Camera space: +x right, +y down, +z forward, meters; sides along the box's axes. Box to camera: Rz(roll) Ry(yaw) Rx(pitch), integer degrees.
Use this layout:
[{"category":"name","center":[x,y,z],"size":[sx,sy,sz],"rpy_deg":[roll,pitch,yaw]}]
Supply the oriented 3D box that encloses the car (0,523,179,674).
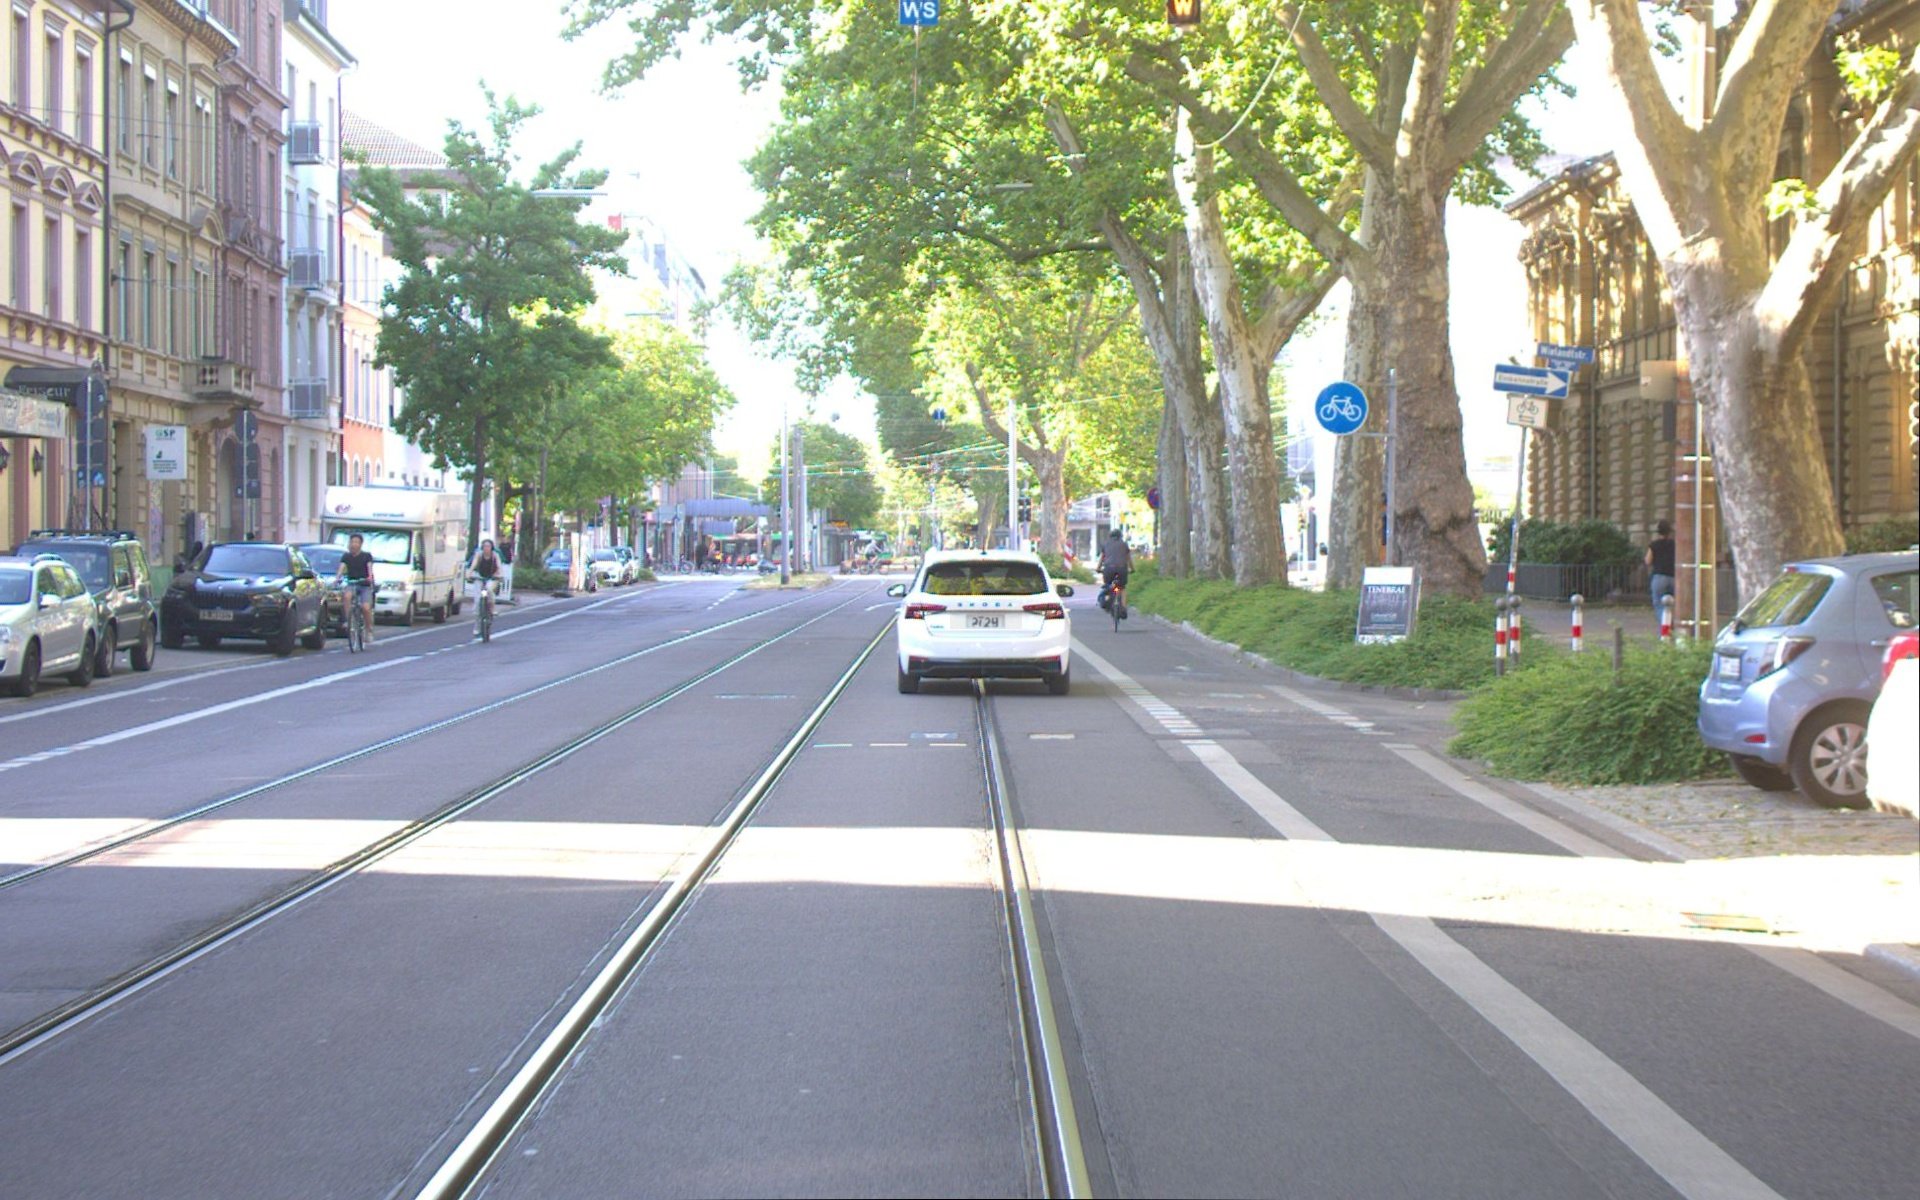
[{"category":"car","center":[-10.721,-0.052,42.083],"size":[1.555,1.726,3.686],"rpy_deg":[1,1,-2]}]

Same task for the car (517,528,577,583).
[{"category":"car","center":[-13.484,-1.458,112.324],"size":[1.641,1.720,3.785],"rpy_deg":[1,1,-2]}]

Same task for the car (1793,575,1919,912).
[{"category":"car","center":[6.156,0.567,15.648],"size":[4.286,1.412,1.760],"rpy_deg":[-1,1,1]}]

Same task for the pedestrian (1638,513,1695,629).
[{"category":"pedestrian","center":[10.150,-0.414,49.378],"size":[0.648,1.627,0.871],"rpy_deg":[2,1,19]}]

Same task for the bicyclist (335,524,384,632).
[{"category":"bicyclist","center":[-9.290,-0.345,53.247],"size":[0.535,1.629,0.896],"rpy_deg":[-2,1,1]}]

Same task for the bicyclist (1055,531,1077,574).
[{"category":"bicyclist","center":[3.872,-1.731,125.460],"size":[0.737,1.583,0.586],"rpy_deg":[0,1,12]}]

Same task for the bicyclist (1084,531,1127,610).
[{"category":"bicyclist","center":[2.496,-0.508,58.983],"size":[0.679,1.334,0.525],"rpy_deg":[1,1,-1]}]

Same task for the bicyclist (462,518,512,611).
[{"category":"bicyclist","center":[-7.717,-0.578,56.157],"size":[0.638,1.498,1.070],"rpy_deg":[-1,1,0]}]

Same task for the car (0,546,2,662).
[{"category":"car","center":[-10.480,0.227,32.367],"size":[1.827,1.497,4.689],"rpy_deg":[1,1,-3]}]

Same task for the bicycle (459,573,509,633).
[{"category":"bicycle","center":[-7.780,0.038,56.204],"size":[0.499,0.940,1.921],"rpy_deg":[-2,1,1]}]

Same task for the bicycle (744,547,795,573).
[{"category":"bicycle","center":[-9.926,-2.090,179.202],"size":[2.680,1.323,0.615],"rpy_deg":[-1,1,-35]}]

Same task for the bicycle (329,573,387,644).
[{"category":"bicycle","center":[-9.293,0.124,53.126],"size":[0.484,1.044,2.039],"rpy_deg":[-2,1,1]}]

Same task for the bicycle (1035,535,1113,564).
[{"category":"bicycle","center":[4.158,-1.837,125.372],"size":[2.771,0.996,0.592],"rpy_deg":[2,1,14]}]

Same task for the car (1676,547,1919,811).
[{"category":"car","center":[6.382,0.463,20.724],"size":[3.751,1.503,1.681],"rpy_deg":[1,1,0]}]

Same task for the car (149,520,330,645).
[{"category":"car","center":[-11.250,-0.302,53.992],"size":[1.964,1.775,4.938],"rpy_deg":[3,1,-3]}]

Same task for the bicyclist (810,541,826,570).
[{"category":"bicyclist","center":[-7.457,-2.345,180.500],"size":[0.631,1.517,0.610],"rpy_deg":[-1,2,-35]}]

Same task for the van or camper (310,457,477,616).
[{"category":"van or camper","center":[-11.783,-1.319,72.033],"size":[2.216,3.129,7.113],"rpy_deg":[1,1,1]}]

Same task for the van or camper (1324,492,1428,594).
[{"category":"van or camper","center":[10.478,-1.420,86.852],"size":[2.027,2.455,5.108],"rpy_deg":[1,1,1]}]

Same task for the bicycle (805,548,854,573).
[{"category":"bicycle","center":[-6.879,-2.092,180.908],"size":[2.680,1.323,0.615],"rpy_deg":[-1,1,-35]}]

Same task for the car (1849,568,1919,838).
[{"category":"car","center":[6.801,0.490,18.052],"size":[3.750,1.382,1.682],"rpy_deg":[-1,1,-6]}]

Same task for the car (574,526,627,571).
[{"category":"car","center":[-14.125,-2.044,135.263],"size":[1.794,1.720,3.785],"rpy_deg":[1,1,-2]}]

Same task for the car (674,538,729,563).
[{"category":"car","center":[-19.221,-3.684,256.145],"size":[3.794,1.812,1.803],"rpy_deg":[1,1,5]}]

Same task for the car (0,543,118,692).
[{"category":"car","center":[-10.661,0.138,37.802],"size":[1.827,1.497,4.450],"rpy_deg":[1,1,-2]}]

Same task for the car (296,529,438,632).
[{"category":"car","center":[-10.703,-0.381,62.318],"size":[1.964,1.775,4.471],"rpy_deg":[1,1,-2]}]

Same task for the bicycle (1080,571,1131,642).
[{"category":"bicycle","center":[2.485,0.089,58.892],"size":[0.680,1.151,2.964],"rpy_deg":[1,1,-1]}]

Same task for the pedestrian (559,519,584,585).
[{"category":"pedestrian","center":[-11.842,-1.452,104.725],"size":[0.601,1.996,0.749],"rpy_deg":[1,1,4]}]

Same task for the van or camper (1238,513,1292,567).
[{"category":"van or camper","center":[13.513,-2.662,152.530],"size":[1.993,2.335,4.000],"rpy_deg":[1,1,0]}]

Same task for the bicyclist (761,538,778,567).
[{"category":"bicyclist","center":[-9.917,-2.471,179.154],"size":[0.631,1.517,0.610],"rpy_deg":[-1,2,-35]}]

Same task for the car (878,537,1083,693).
[{"category":"car","center":[0.150,0.116,35.185],"size":[1.842,1.475,3.839],"rpy_deg":[1,1,-3]}]
